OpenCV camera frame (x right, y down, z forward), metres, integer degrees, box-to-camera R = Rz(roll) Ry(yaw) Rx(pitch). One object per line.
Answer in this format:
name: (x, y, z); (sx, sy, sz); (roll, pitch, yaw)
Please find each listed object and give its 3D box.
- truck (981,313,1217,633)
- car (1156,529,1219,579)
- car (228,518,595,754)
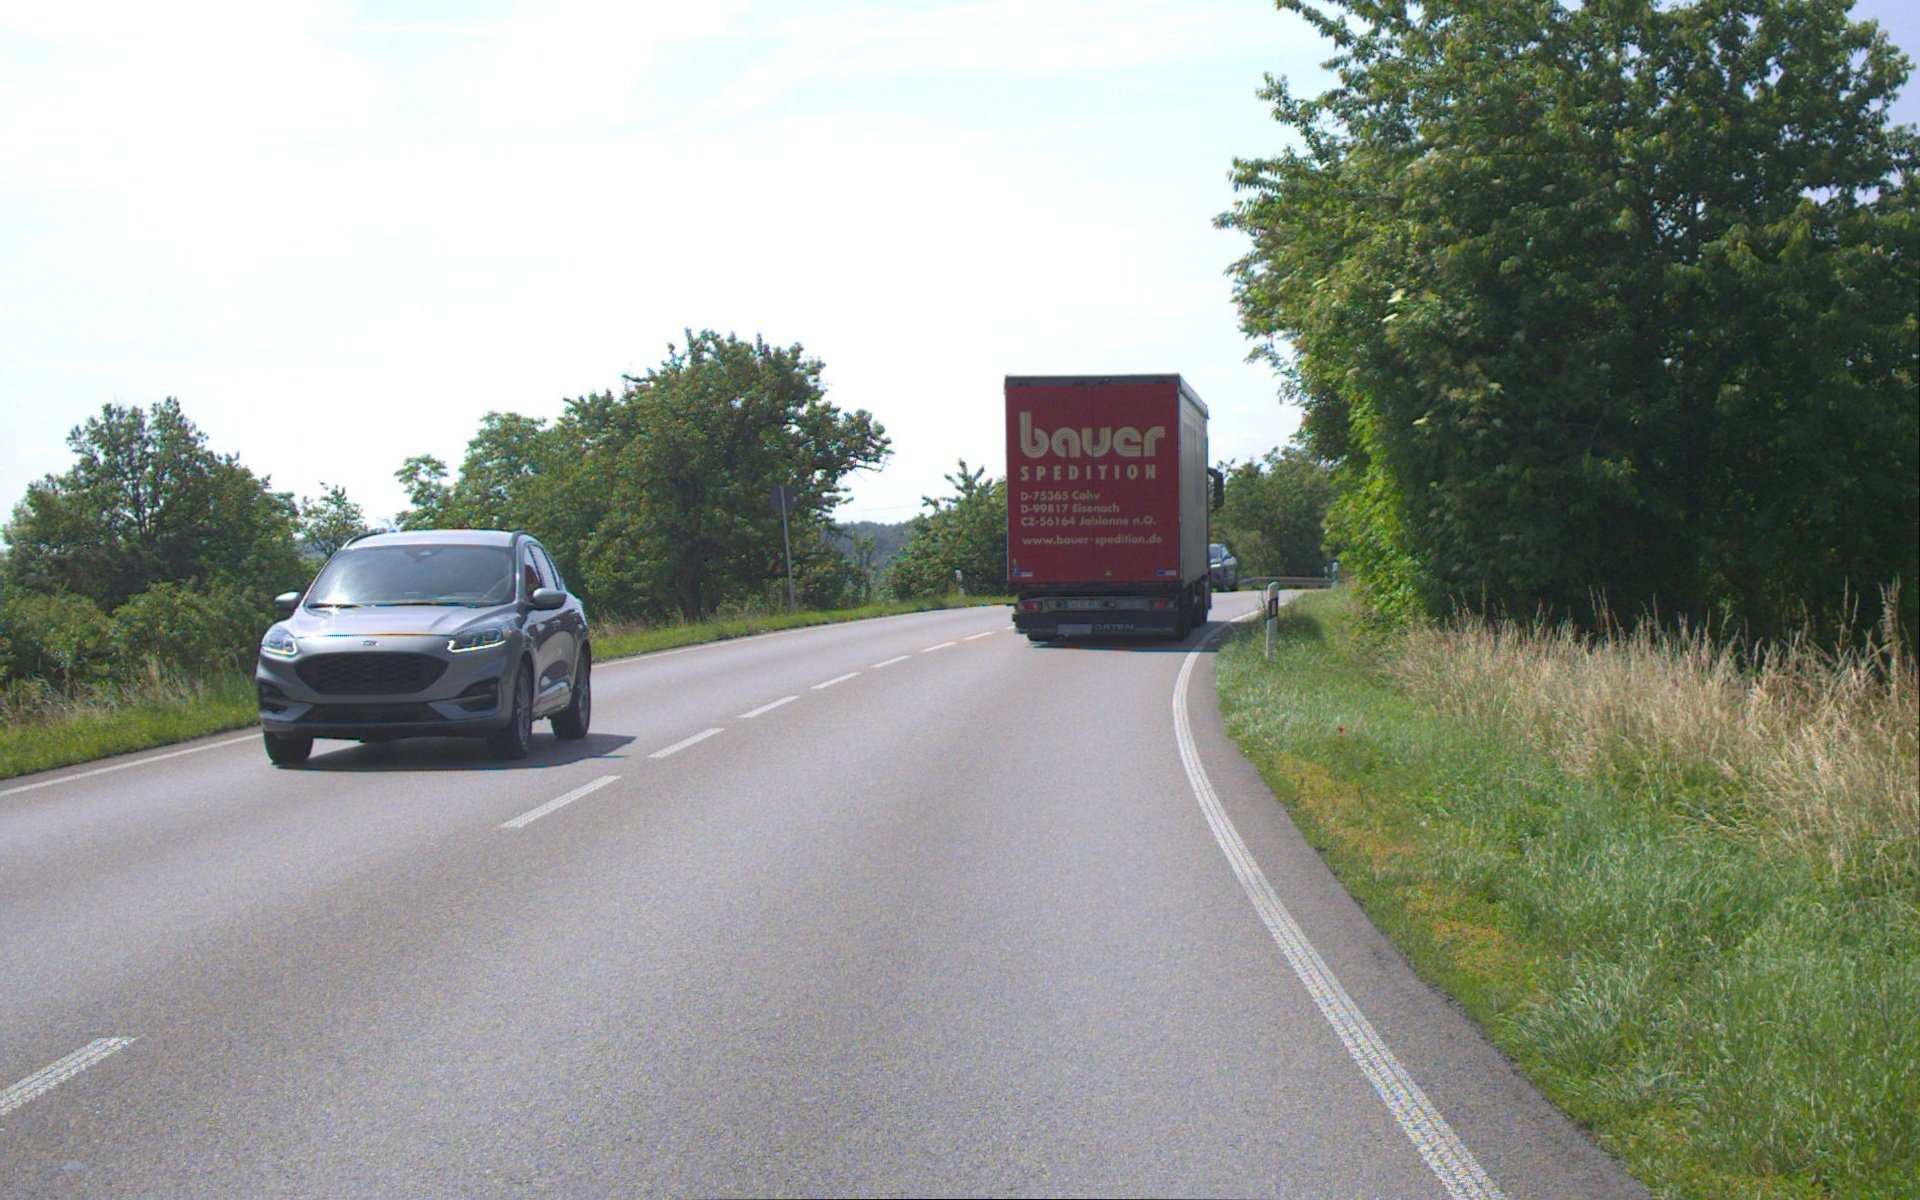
truck: (2.447, -1.966, 55.373); (3.113, 4.490, 12.166); (-2, 1, 5)
car: (7.553, -1.531, 113.702); (1.879, 1.587, 4.490); (-1, 1, 6)
car: (-4.000, 0.216, 25.805); (1.957, 1.599, 4.401); (-1, 1, 1)
